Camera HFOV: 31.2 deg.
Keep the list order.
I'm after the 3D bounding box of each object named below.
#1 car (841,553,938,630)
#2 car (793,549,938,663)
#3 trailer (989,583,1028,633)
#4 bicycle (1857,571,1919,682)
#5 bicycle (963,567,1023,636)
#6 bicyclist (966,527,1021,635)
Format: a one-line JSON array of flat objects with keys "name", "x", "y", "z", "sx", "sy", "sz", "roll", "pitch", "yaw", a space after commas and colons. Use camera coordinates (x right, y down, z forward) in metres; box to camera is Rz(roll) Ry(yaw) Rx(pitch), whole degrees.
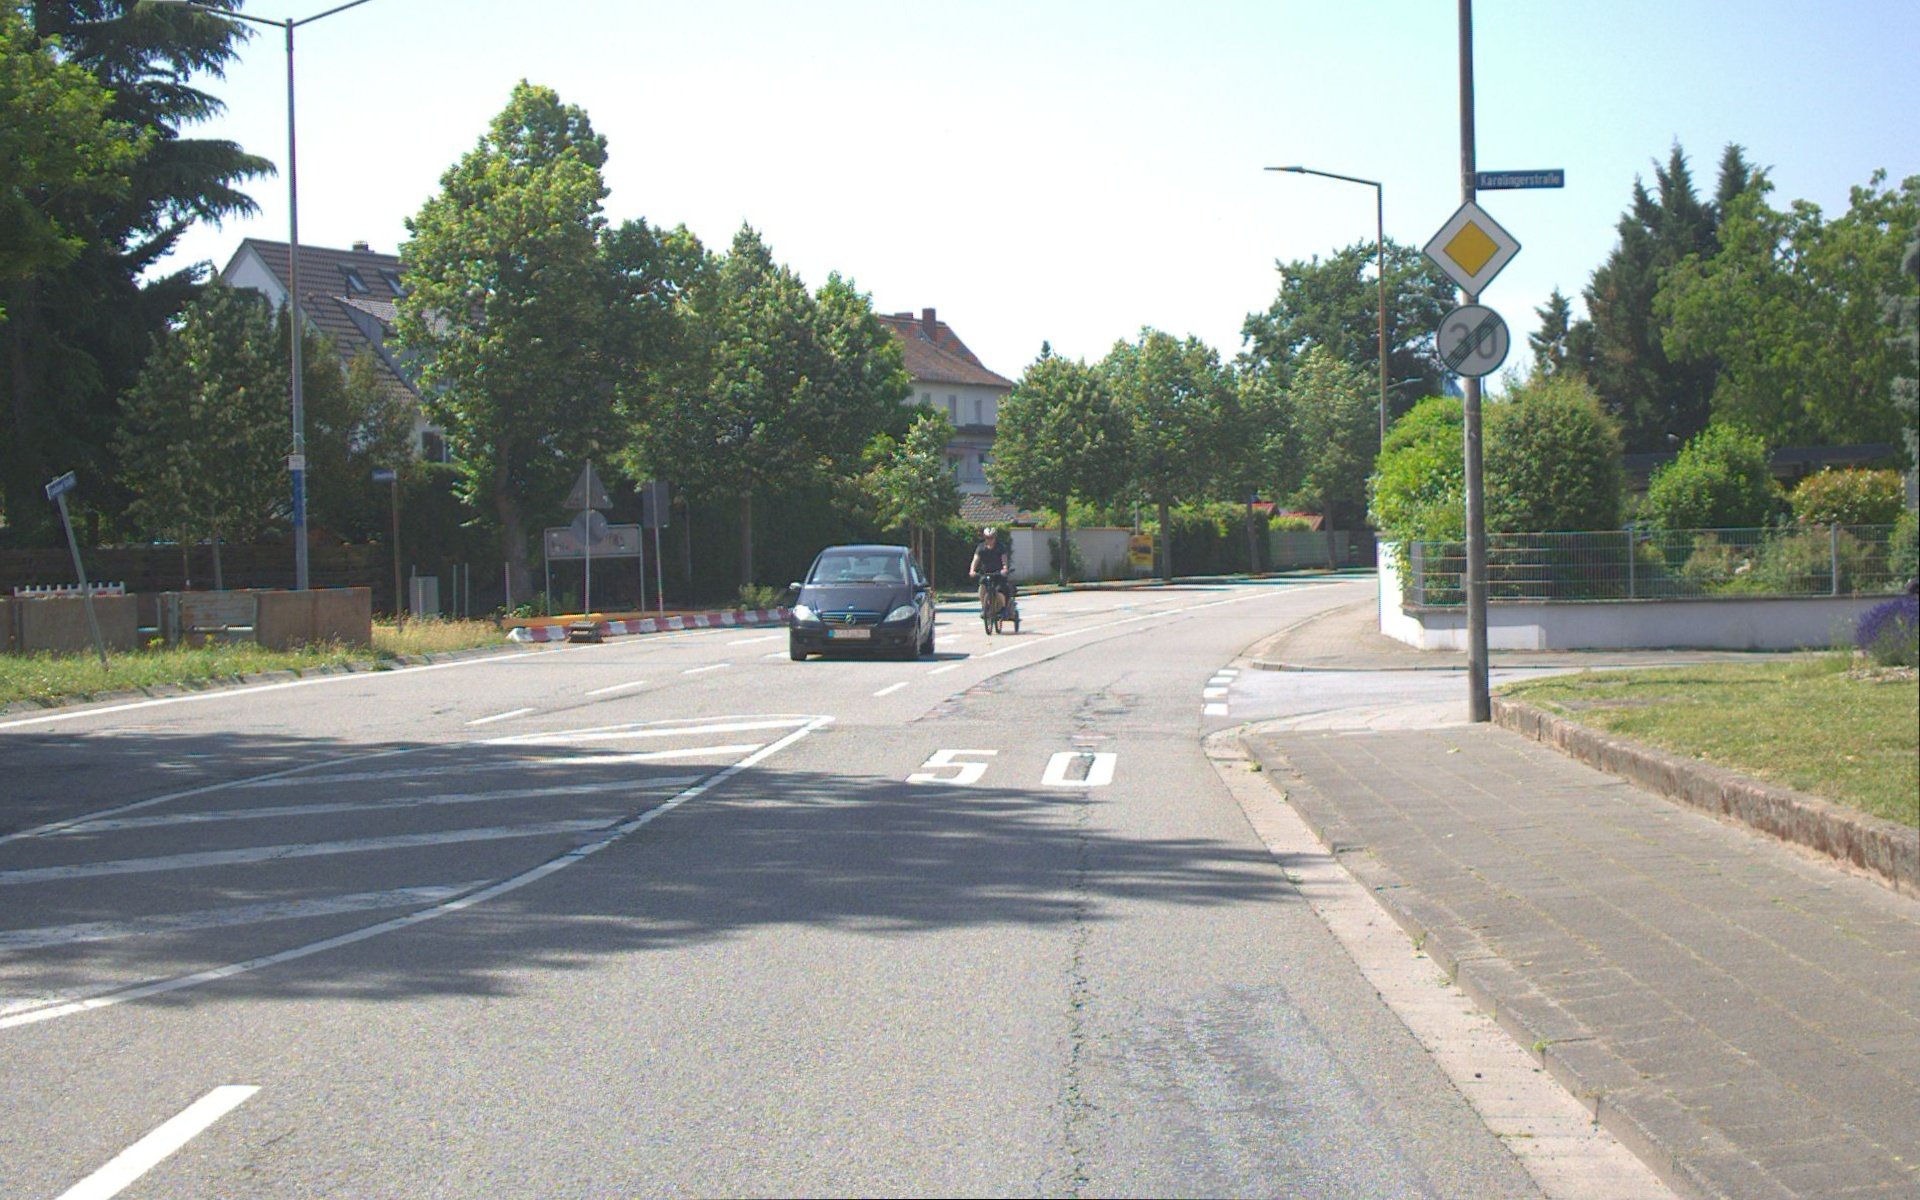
[{"name": "car", "x": -1.396, "y": -0.190, "z": 69.043, "sx": 1.699, "sy": 1.505, "sz": 3.459, "roll": 0, "pitch": 1, "yaw": 3}, {"name": "car", "x": -1.289, "y": 0.056, "z": 48.310, "sx": 1.725, "sy": 1.527, "sz": 3.830, "roll": 0, "pitch": 1, "yaw": 3}, {"name": "trailer", "x": 0.871, "y": 0.138, "z": 61.459, "sx": 0.570, "sy": 0.853, "sz": 1.132, "roll": -1, "pitch": 1, "yaw": 6}, {"name": "bicycle", "x": 10.306, "y": 0.244, "z": 35.049, "sx": 2.140, "sy": 1.099, "sz": 0.816, "roll": -2, "pitch": 1, "yaw": 8}, {"name": "bicycle", "x": 0.590, "y": 0.018, "z": 59.910, "sx": 0.850, "sy": 1.162, "sz": 1.977, "roll": 0, "pitch": 1, "yaw": 6}, {"name": "bicyclist", "x": 0.587, "y": -0.333, "z": 59.908, "sx": 0.846, "sy": 1.859, "sz": 0.976, "roll": 0, "pitch": 1, "yaw": 6}]
